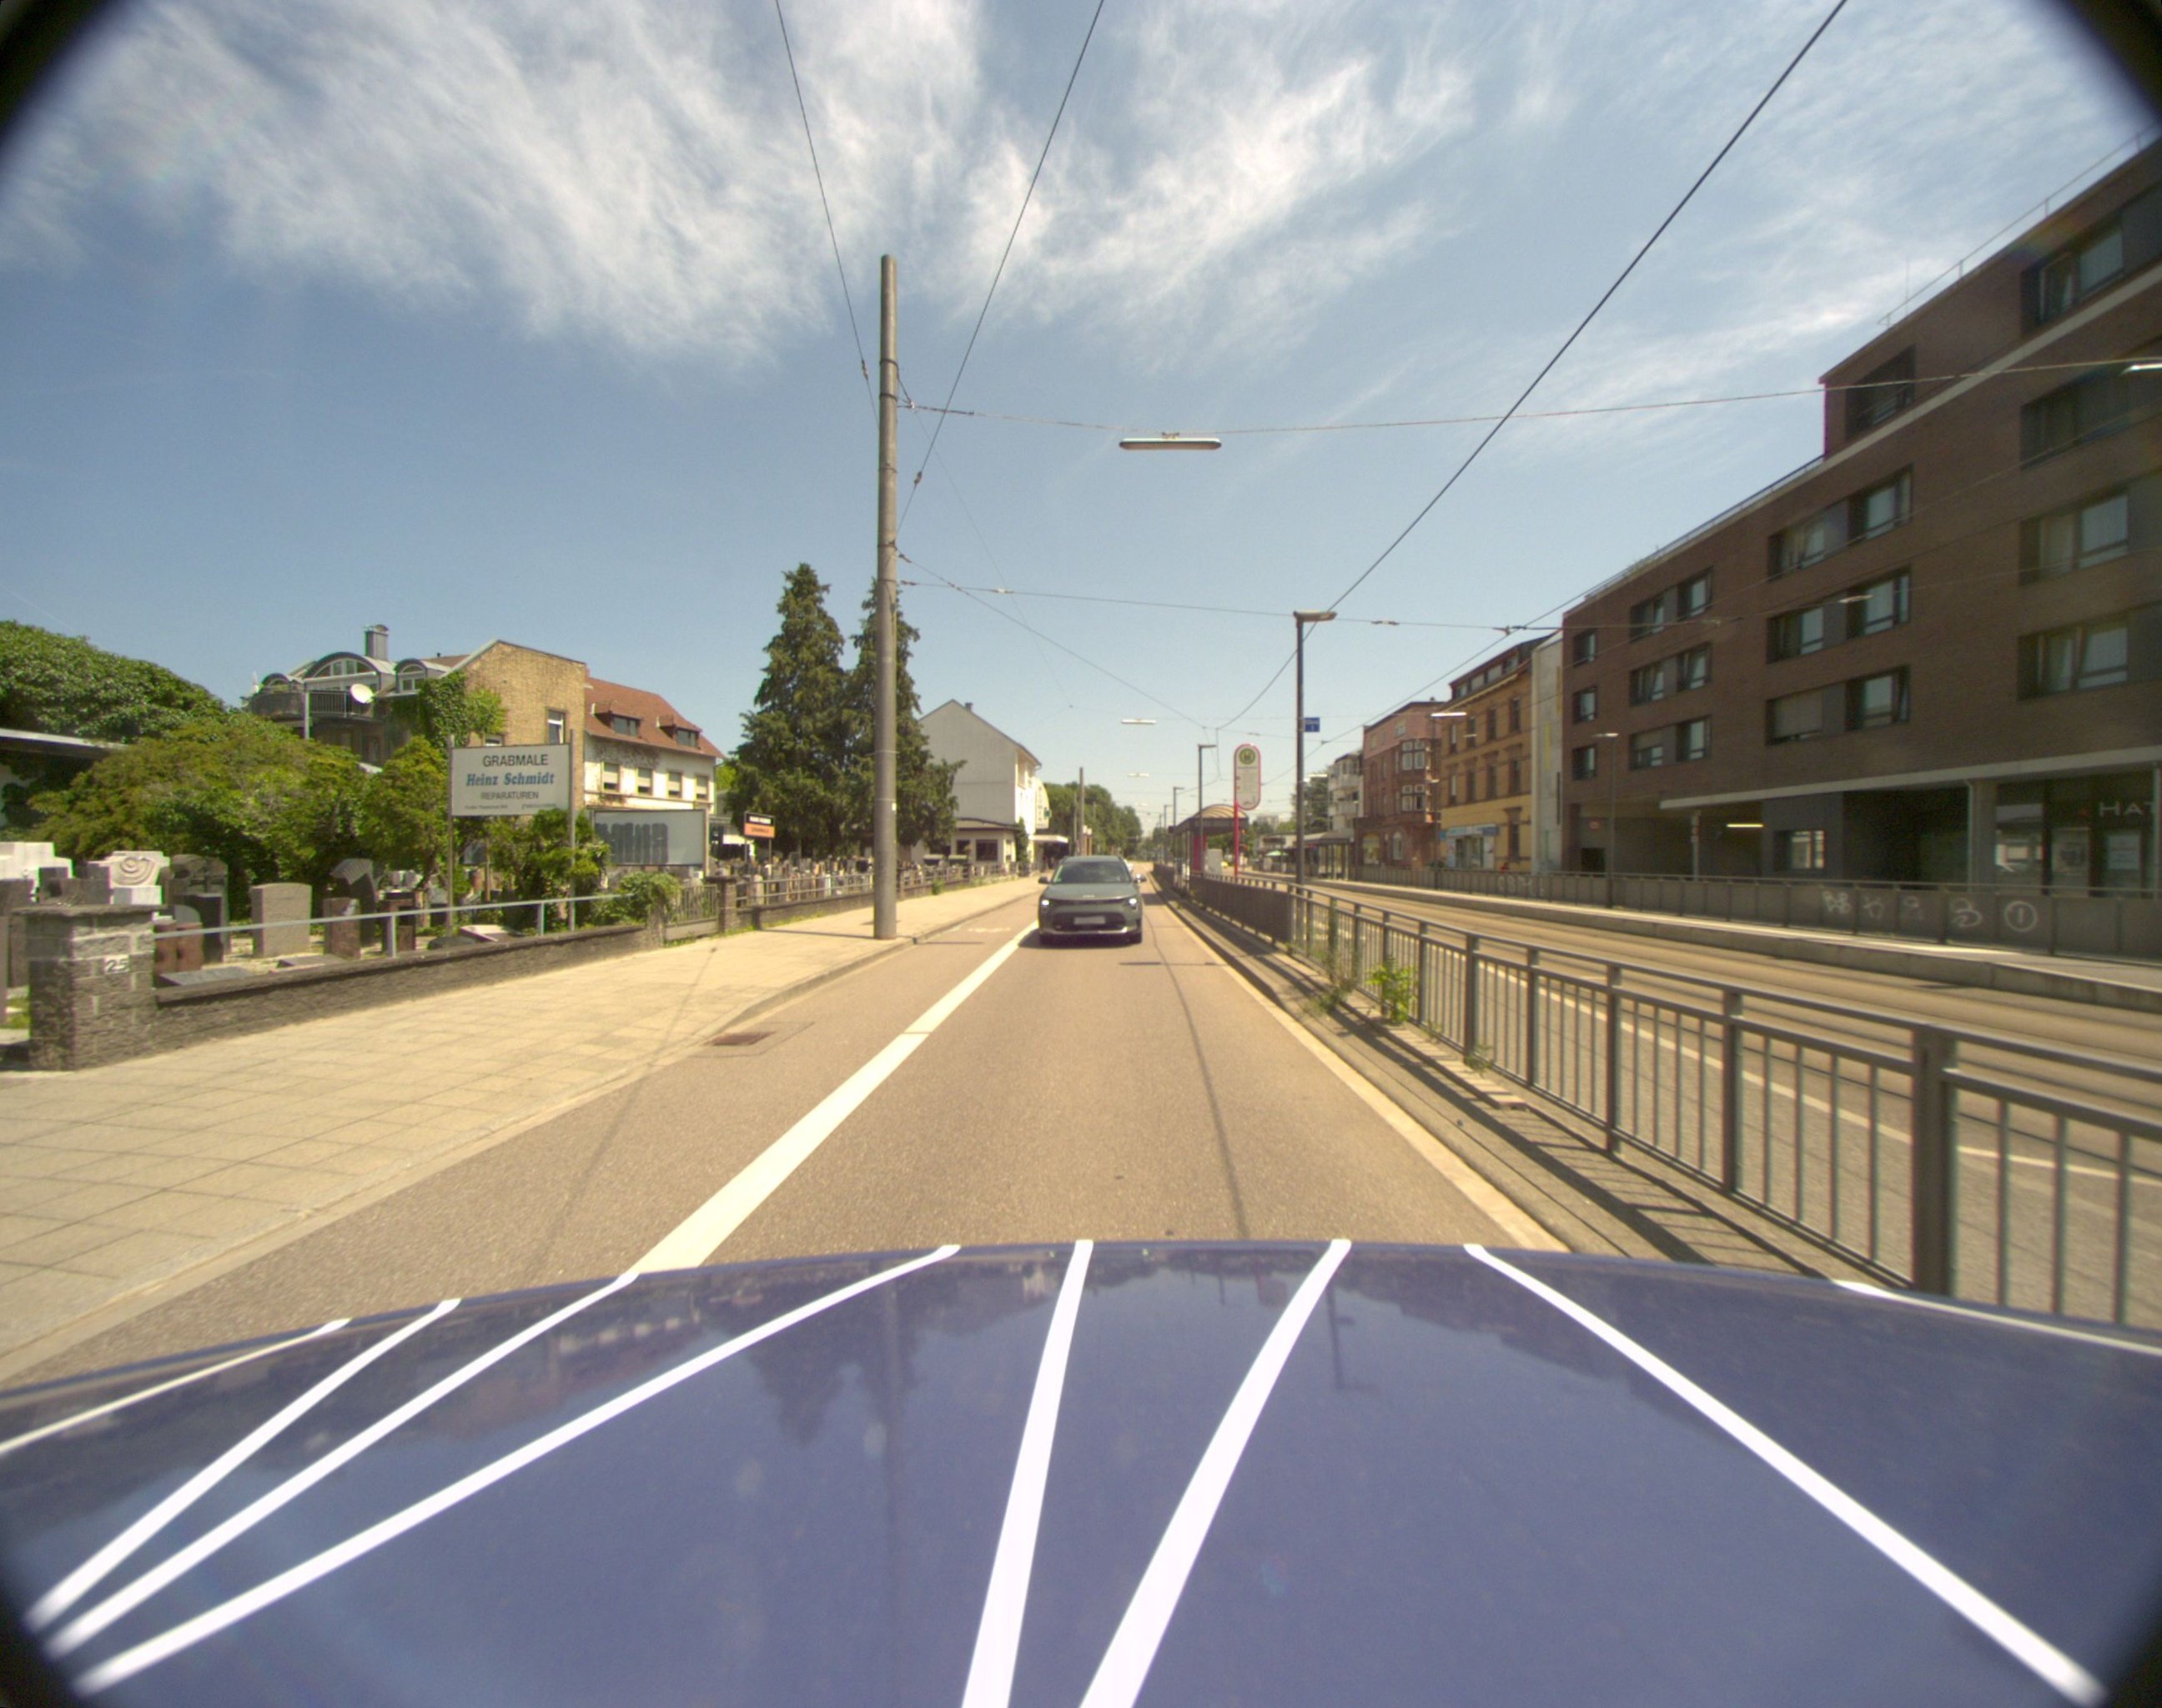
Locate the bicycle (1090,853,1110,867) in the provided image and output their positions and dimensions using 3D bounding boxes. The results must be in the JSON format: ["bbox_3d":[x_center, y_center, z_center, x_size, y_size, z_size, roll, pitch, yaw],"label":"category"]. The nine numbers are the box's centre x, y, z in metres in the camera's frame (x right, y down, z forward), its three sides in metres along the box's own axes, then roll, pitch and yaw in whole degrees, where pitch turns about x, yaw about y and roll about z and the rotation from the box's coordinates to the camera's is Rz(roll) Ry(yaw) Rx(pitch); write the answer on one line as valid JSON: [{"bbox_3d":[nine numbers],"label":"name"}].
[{"bbox_3d":[2.285,0.717,89.467,2.053,1.580,0.889,4,1,-27],"label":"bicycle"}]

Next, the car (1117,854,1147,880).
[{"bbox_3d":[3.228,0.803,48.439,1.748,1.546,4.488,-2,0,3],"label":"car"}]

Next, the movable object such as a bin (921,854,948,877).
[{"bbox_3d":[-9.422,0.736,48.951,1.389,1.472,1.152,0,0,8],"label":"movable object such as a bin"}]

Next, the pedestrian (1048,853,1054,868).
[{"bbox_3d":[-3.425,0.741,86.714,0.536,1.588,0.425,-2,1,-9],"label":"pedestrian"}]

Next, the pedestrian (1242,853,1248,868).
[{"bbox_3d":[18.344,0.719,84.961,0.597,1.615,0.677,1,1,5],"label":"pedestrian"}]

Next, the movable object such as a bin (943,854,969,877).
[{"bbox_3d":[-7.978,0.738,48.669,1.390,1.472,1.152,0,0,5],"label":"movable object such as a bin"}]

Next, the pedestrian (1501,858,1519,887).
[{"bbox_3d":[23.283,0.993,41.265,0.604,1.586,0.715,0,1,2],"label":"pedestrian"}]

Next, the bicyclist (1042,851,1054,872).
[{"bbox_3d":[-3.089,0.703,70.985,0.790,1.863,0.888,3,0,12],"label":"bicyclist"}]

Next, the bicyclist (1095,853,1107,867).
[{"bbox_3d":[2.364,0.713,89.495,0.987,1.569,0.866,4,1,-27],"label":"bicyclist"}]

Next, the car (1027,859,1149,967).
[{"bbox_3d":[0.147,0.902,13.626,1.827,1.546,4.487,0,0,1],"label":"car"}]

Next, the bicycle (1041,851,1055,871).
[{"bbox_3d":[-3.091,0.657,70.999,0.799,1.889,1.960,3,0,12],"label":"bicycle"}]
